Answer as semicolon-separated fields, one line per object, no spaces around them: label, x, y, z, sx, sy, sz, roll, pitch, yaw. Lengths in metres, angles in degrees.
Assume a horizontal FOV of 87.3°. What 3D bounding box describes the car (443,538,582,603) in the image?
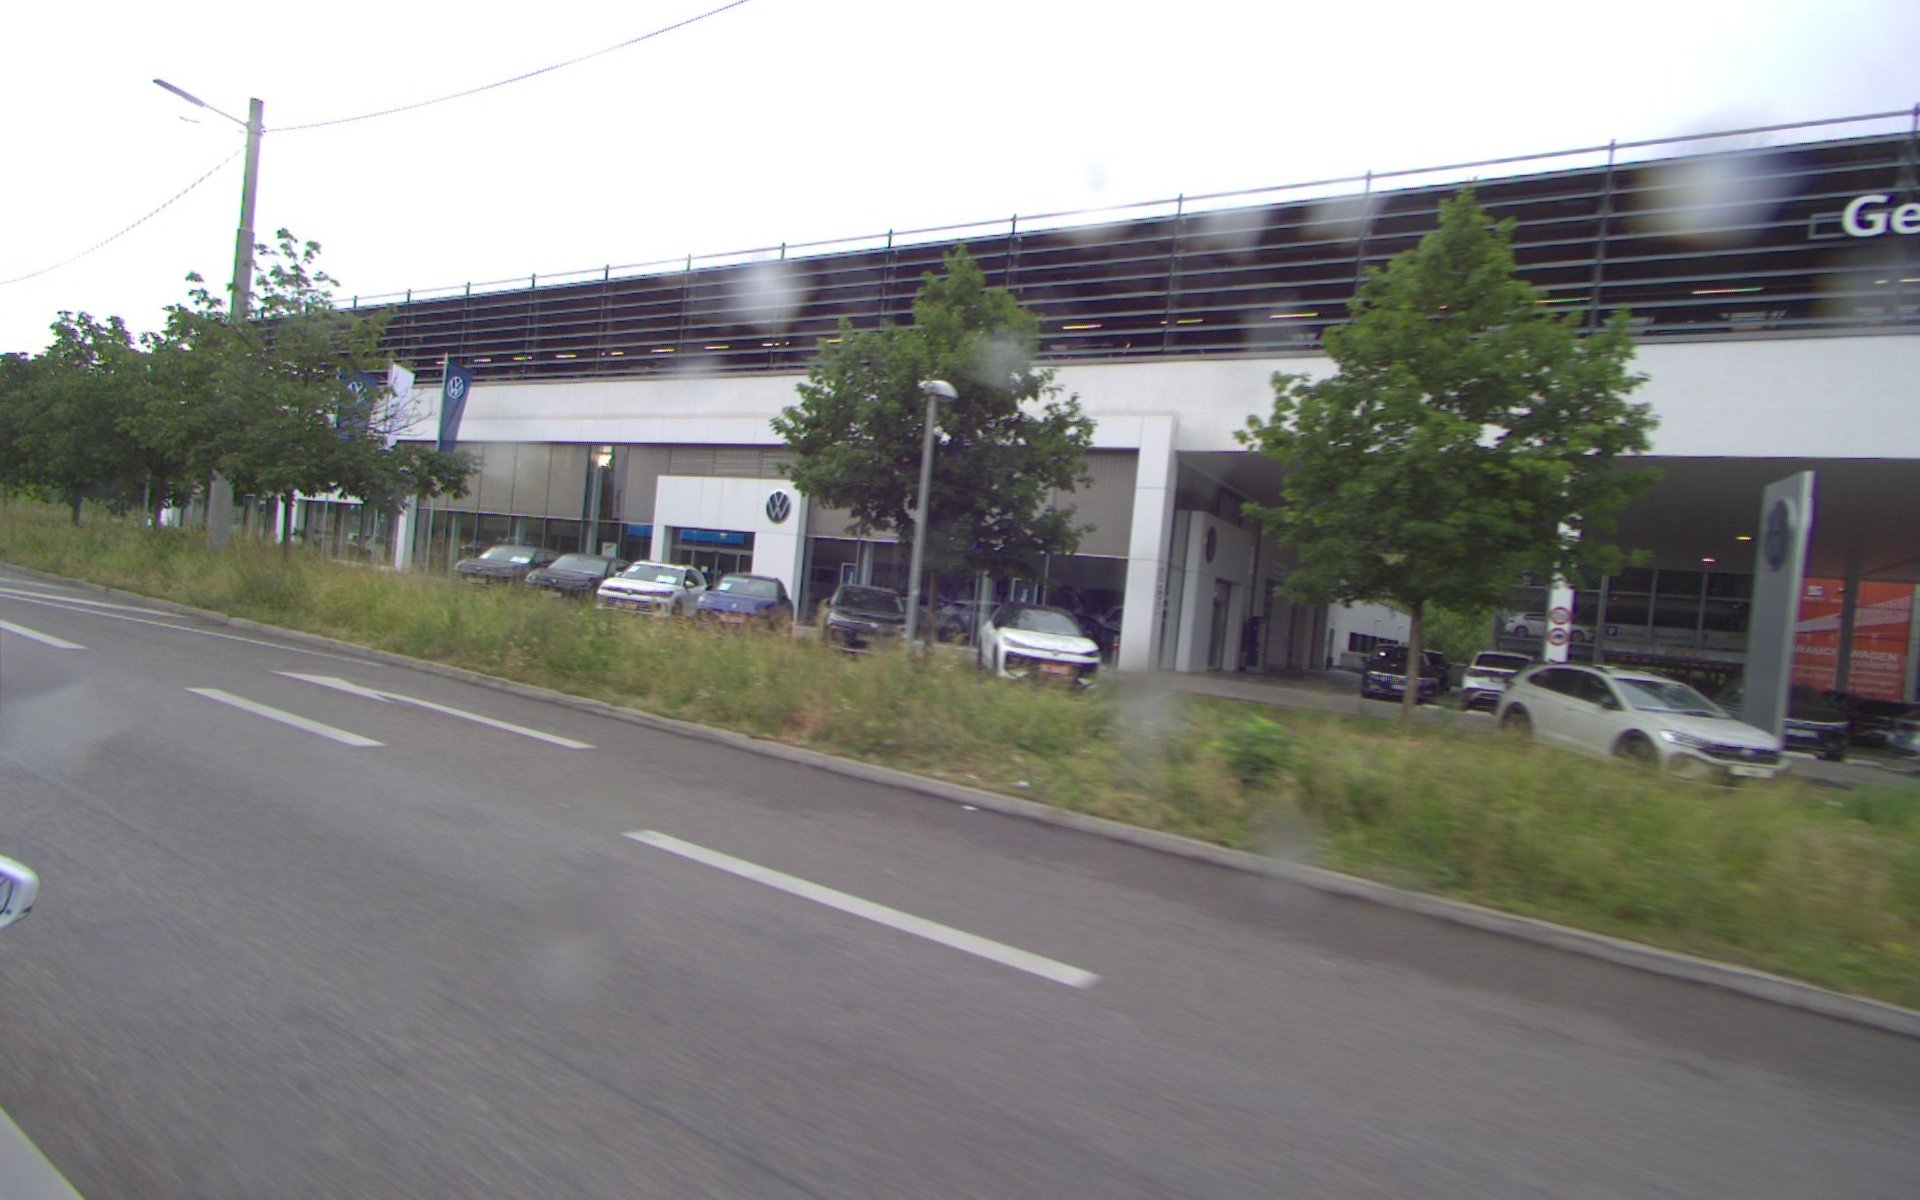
car;-12.921;-0.820;29.384;1.817;1.589;4.623;5;1;1

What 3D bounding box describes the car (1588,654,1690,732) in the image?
car;16.374;2.306;24.398;1.757;1.525;3.994;6;-3;33

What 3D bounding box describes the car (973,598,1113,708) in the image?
car;1.388;0.875;18.502;1.767;1.589;4.094;5;1;-5

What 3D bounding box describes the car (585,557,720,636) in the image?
car;-7.485;-0.109;24.970;1.821;1.647;4.352;5;1;1

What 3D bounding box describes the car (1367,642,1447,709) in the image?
car;11.953;1.973;27.084;1.702;1.470;3.826;6;0;22

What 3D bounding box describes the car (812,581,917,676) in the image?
car;-2.066;0.497;20.630;1.768;1.589;4.181;5;1;-9

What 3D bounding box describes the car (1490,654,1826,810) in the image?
car;9.594;1.728;14.322;1.716;1.484;4.096;5;1;-2

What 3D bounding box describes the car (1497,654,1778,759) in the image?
car;14.055;2.144;21.236;4.615;1.487;1.780;6;2;30

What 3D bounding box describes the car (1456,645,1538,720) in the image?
car;13.899;2.091;25.956;1.611;1.607;3.821;7;0;30

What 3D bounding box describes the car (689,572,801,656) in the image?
car;-4.755;0.259;22.801;1.766;1.589;4.185;5;1;-3

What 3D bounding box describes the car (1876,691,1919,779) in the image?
car;19.733;2.719;17.927;4.617;1.487;1.895;6;2;30

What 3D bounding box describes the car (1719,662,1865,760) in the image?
car;18.219;2.459;22.223;1.860;1.747;3.994;6;-3;33

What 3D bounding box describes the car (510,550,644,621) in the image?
car;-10.043;-0.377;26.742;1.765;1.589;4.372;5;1;0
